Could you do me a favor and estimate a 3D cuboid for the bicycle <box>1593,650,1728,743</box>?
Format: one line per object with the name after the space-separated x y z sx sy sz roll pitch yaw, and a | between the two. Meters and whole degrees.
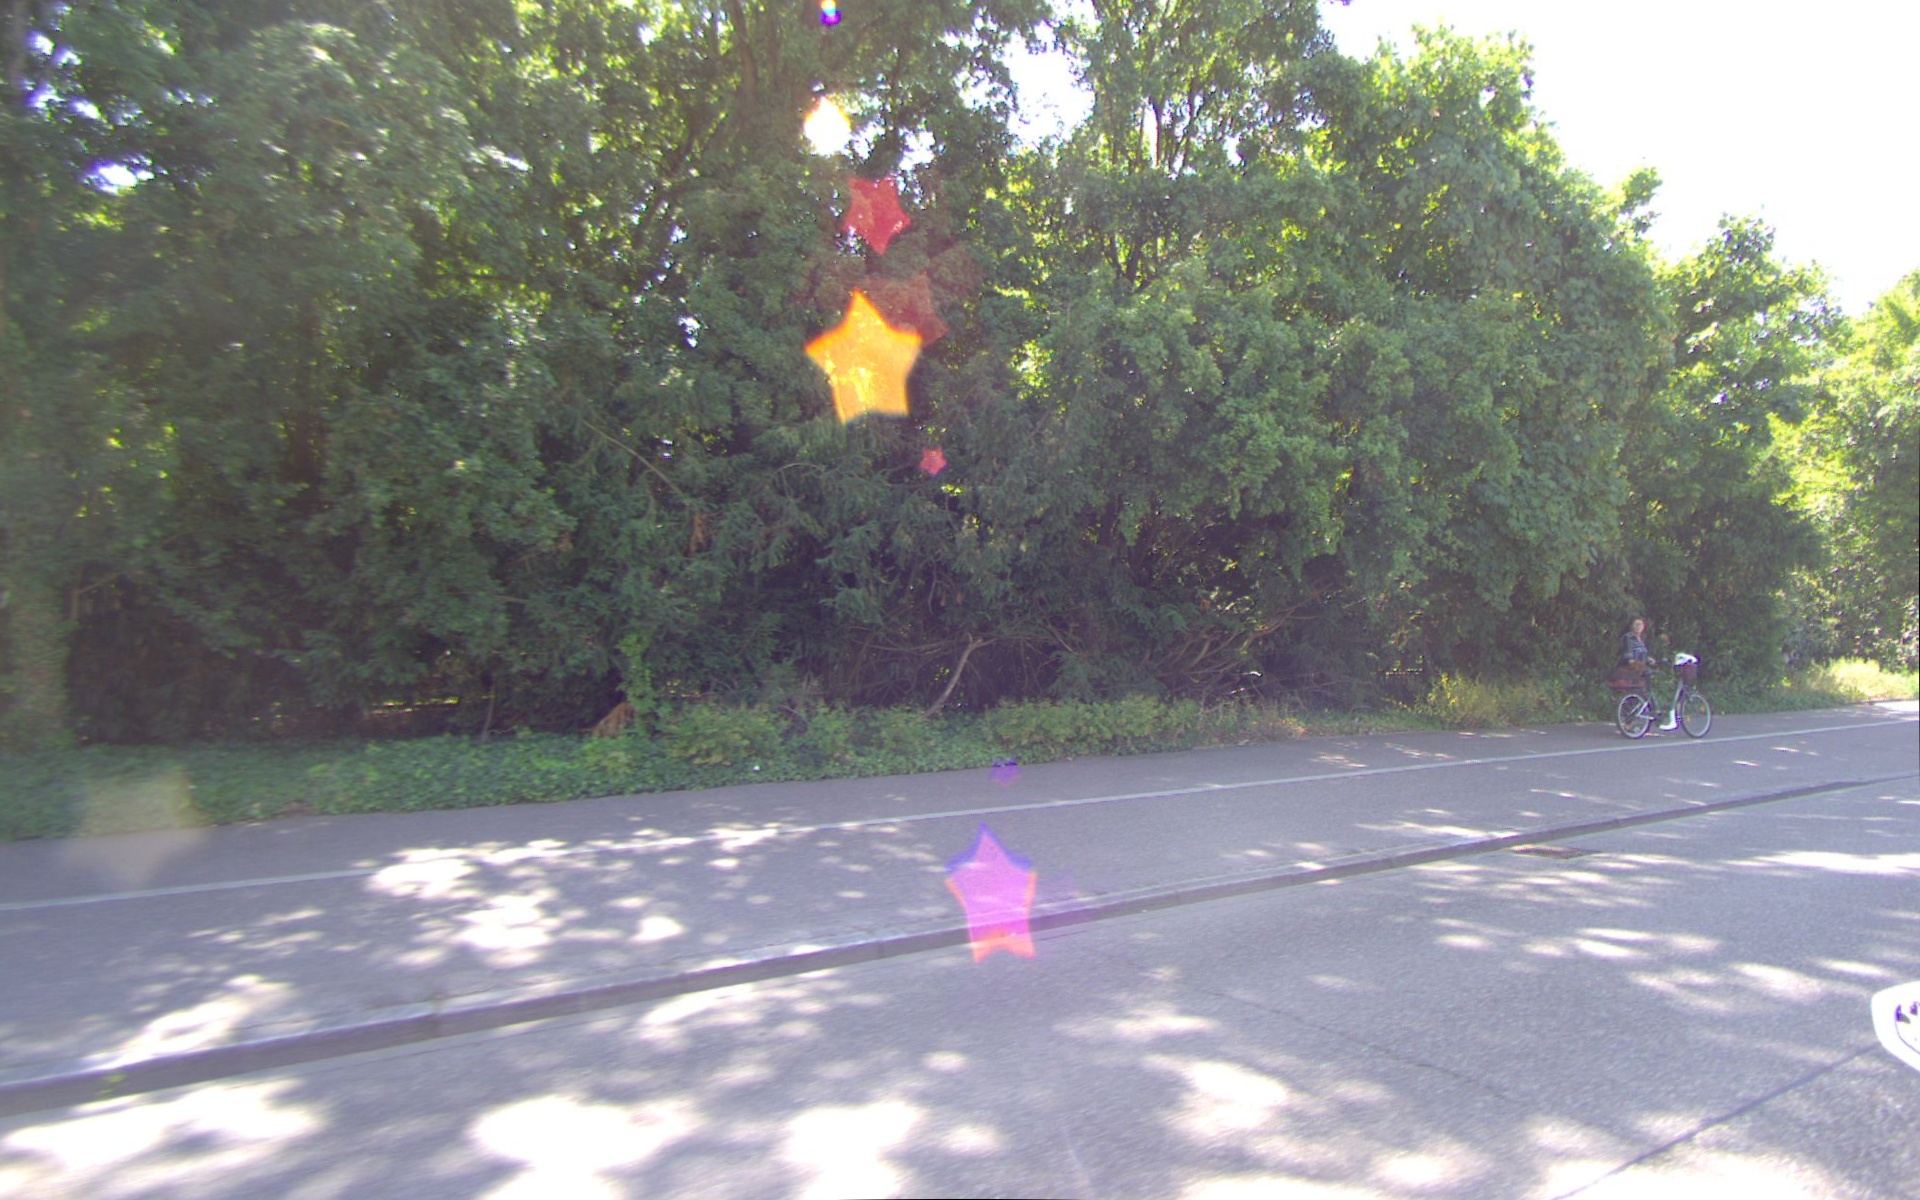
10.029 1.368 14.376 1.930 1.253 0.521 1 0 -18 | bicycle

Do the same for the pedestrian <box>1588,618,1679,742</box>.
9.803 1.137 14.635 0.764 1.741 0.808 1 -1 -14 | pedestrian
